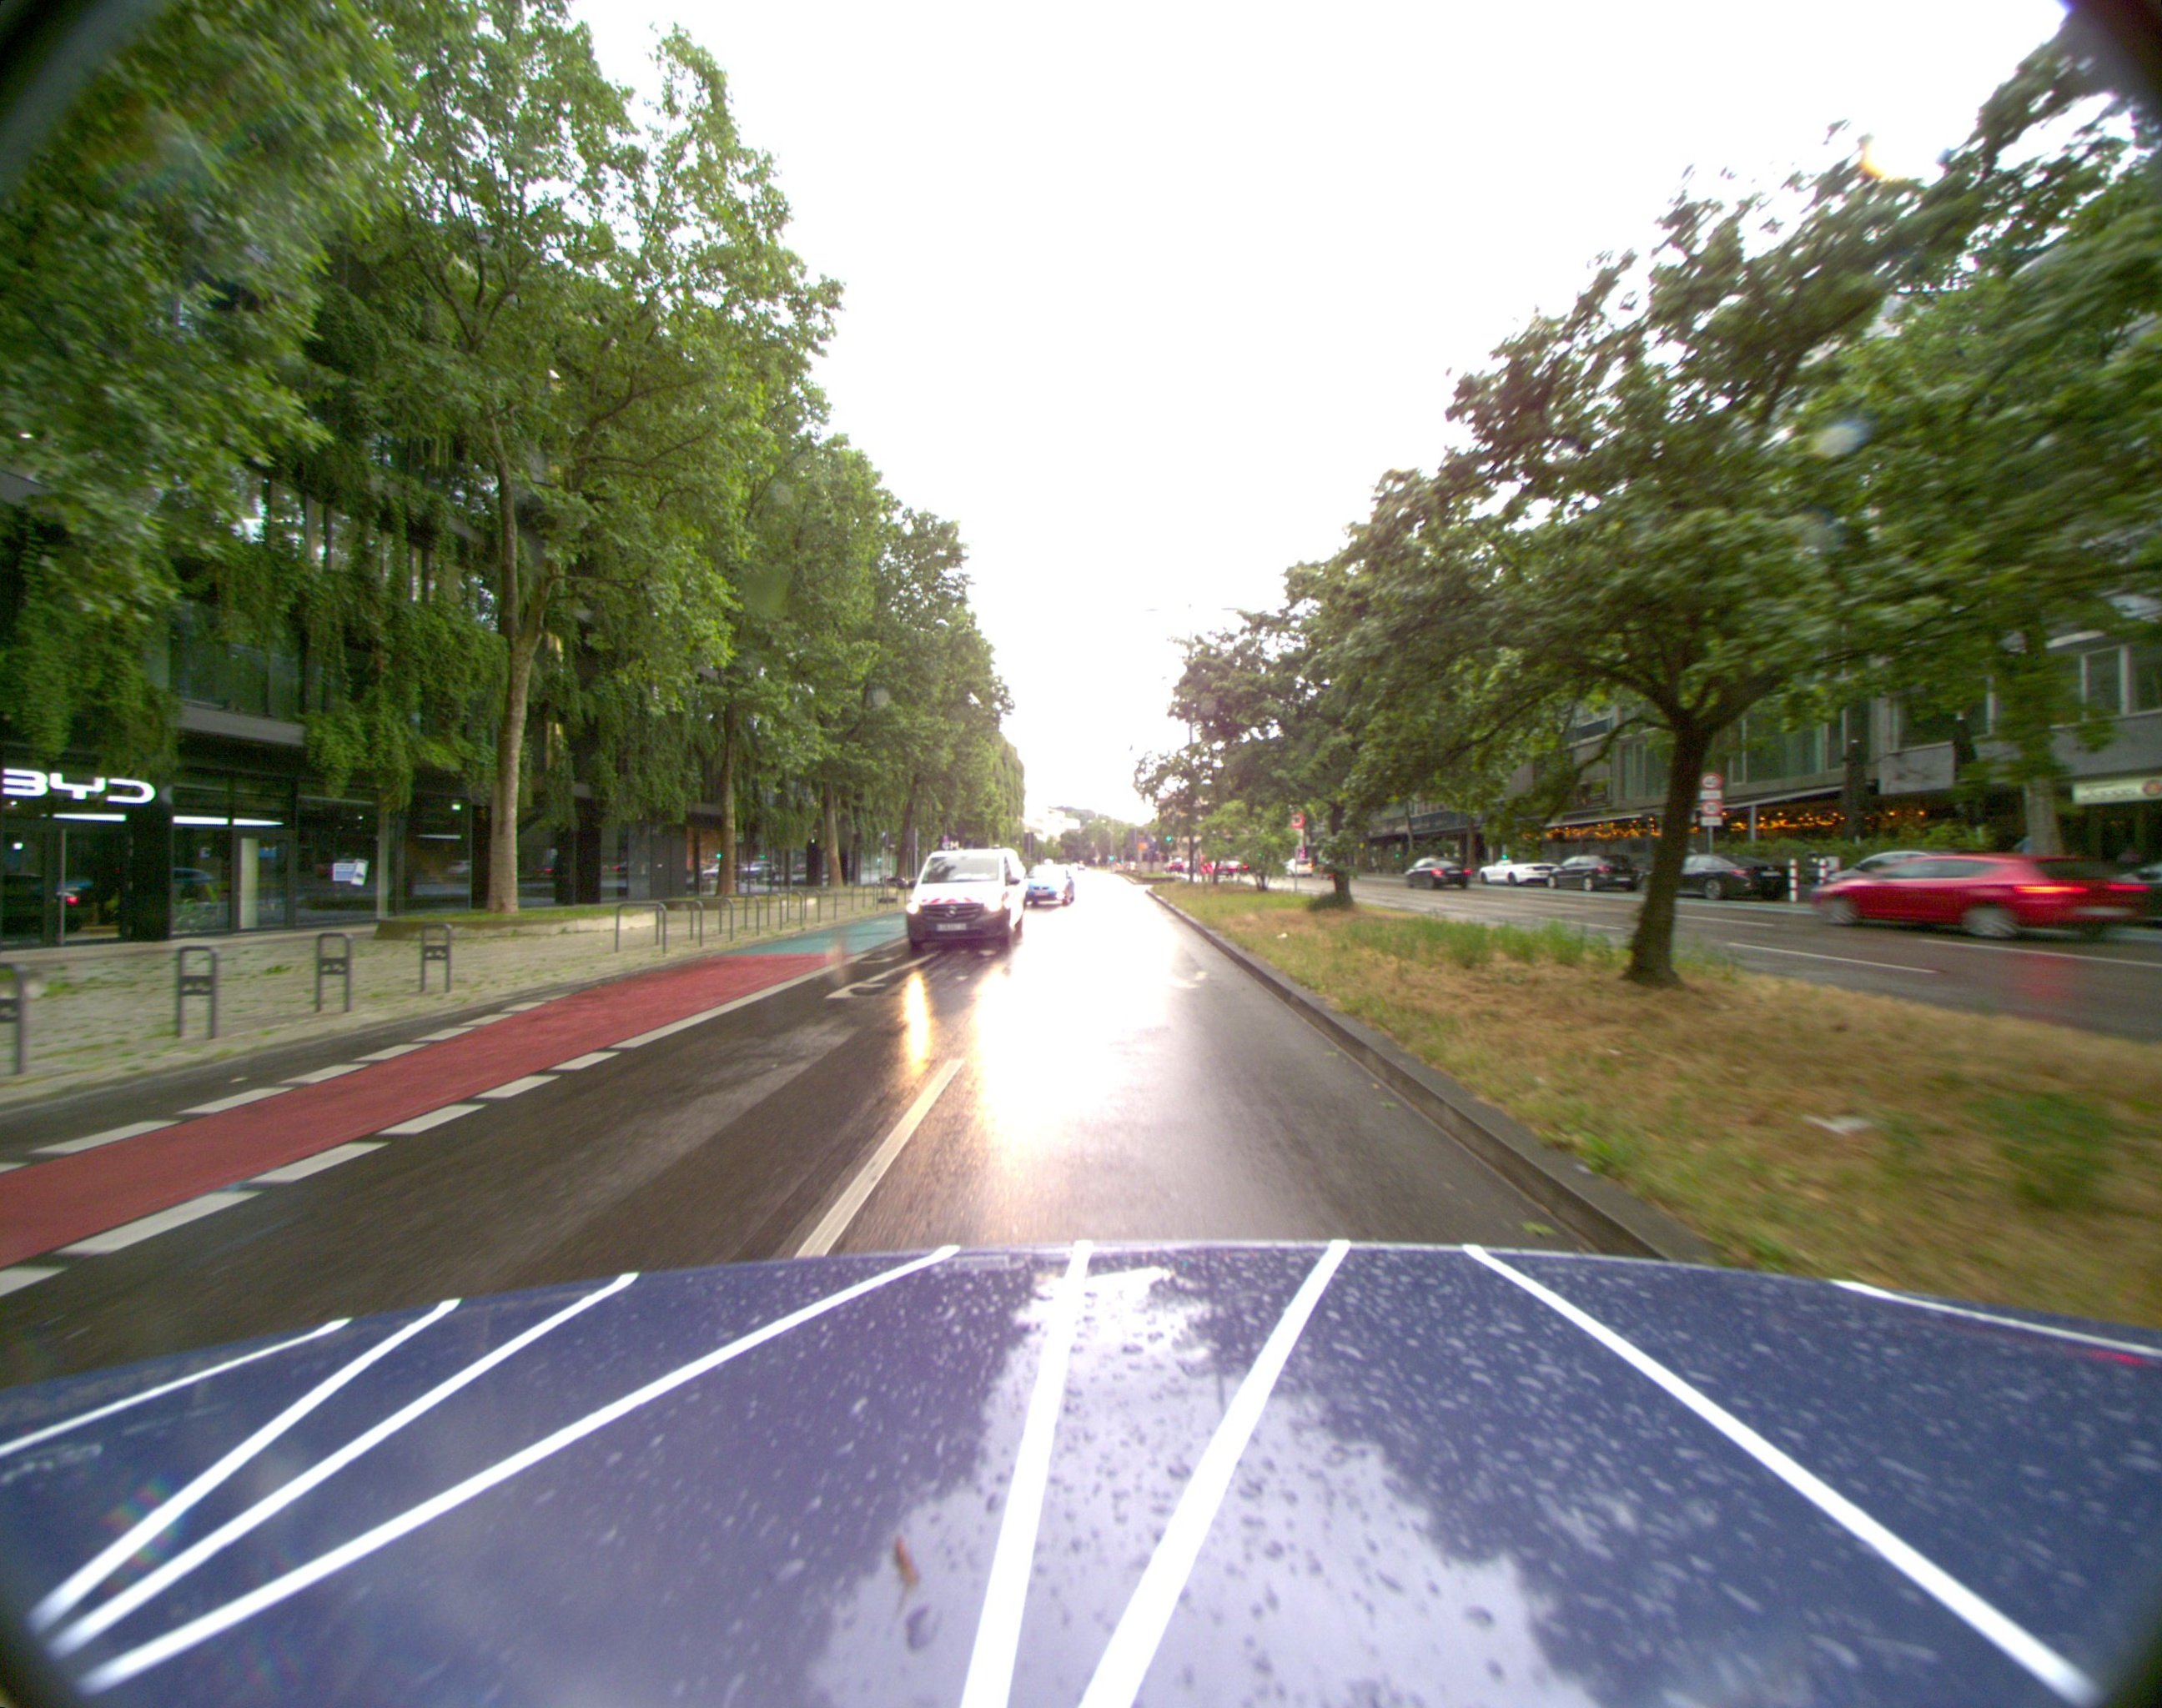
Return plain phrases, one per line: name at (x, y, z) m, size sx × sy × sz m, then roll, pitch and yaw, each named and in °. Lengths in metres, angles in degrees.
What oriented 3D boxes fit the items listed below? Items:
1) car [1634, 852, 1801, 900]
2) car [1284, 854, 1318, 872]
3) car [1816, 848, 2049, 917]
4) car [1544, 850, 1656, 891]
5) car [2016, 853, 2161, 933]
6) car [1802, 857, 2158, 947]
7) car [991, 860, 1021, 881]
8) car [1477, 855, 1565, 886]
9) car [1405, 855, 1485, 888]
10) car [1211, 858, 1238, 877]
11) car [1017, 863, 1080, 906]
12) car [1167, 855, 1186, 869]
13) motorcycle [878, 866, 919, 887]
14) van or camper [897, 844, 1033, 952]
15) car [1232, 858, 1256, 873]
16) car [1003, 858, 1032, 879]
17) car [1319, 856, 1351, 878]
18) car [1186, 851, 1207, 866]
car at (20.197, 0.671, 24.405) m, size 1.697 × 1.400 × 4.457 m, roll -1°, pitch -1°, yaw 2°
car at (18.116, 0.748, 62.772) m, size 1.848 × 1.420 × 3.643 m, roll -1°, pitch -1°, yaw 2°
car at (20.002, 0.628, 18.094) m, size 1.697 × 1.459 × 3.460 m, roll -1°, pitch -1°, yaw 2°
car at (20.648, 0.637, 30.448) m, size 1.841 × 1.499 × 4.001 m, roll -1°, pitch -1°, yaw 2°
car at (19.833, 0.670, 12.998) m, size 1.697 × 1.400 × 4.905 m, roll -1°, pitch -1°, yaw 2°
car at (15.996, 0.779, 13.936) m, size 1.618 × 1.385 × 4.185 m, roll -1°, pitch -1°, yaw 2°
car at (-6.202, 1.339, 63.432) m, size 1.848 × 1.622 × 4.787 m, roll -1°, pitch -1°, yaw 2°
car at (20.744, 0.766, 36.073) m, size 1.563 × 1.345 × 4.684 m, roll -2°, pitch -1°, yaw 2°
car at (16.721, 0.788, 35.111) m, size 1.848 × 1.381 × 4.001 m, roll -1°, pitch -1°, yaw 2°
car at (12.652, 1.187, 67.137) m, size 1.753 × 1.467 × 4.096 m, roll -2°, pitch 0°, yaw 3°
car at (-1.155, 1.137, 29.177) m, size 1.847 × 1.473 × 4.398 m, roll -2°, pitch -1°, yaw 4°
car at (12.964, 1.121, 103.246) m, size 1.840 × 1.756 × 5.109 m, roll -1°, pitch -1°, yaw 0°
motorcycle at (-11.574, 1.425, 48.276) m, size 2.313 × 1.263 × 1.053 m, roll -2°, pitch 0°, yaw 1°
van or camper at (-2.234, 0.817, 16.167) m, size 1.998 × 1.902 × 5.252 m, roll -1°, pitch -1°, yaw 1°
car at (16.679, 1.128, 77.752) m, size 1.753 × 1.467 × 4.096 m, roll 0°, pitch 0°, yaw 2°
car at (-5.757, 1.319, 69.649) m, size 1.847 × 1.827 × 5.096 m, roll 0°, pitch -1°, yaw 4°
car at (17.667, 0.876, 52.924) m, size 1.497 × 1.454 × 2.732 m, roll -1°, pitch 0°, yaw 4°
car at (12.875, 0.502, 85.043) m, size 1.739 × 1.564 × 4.833 m, roll -1°, pitch -1°, yaw 2°
